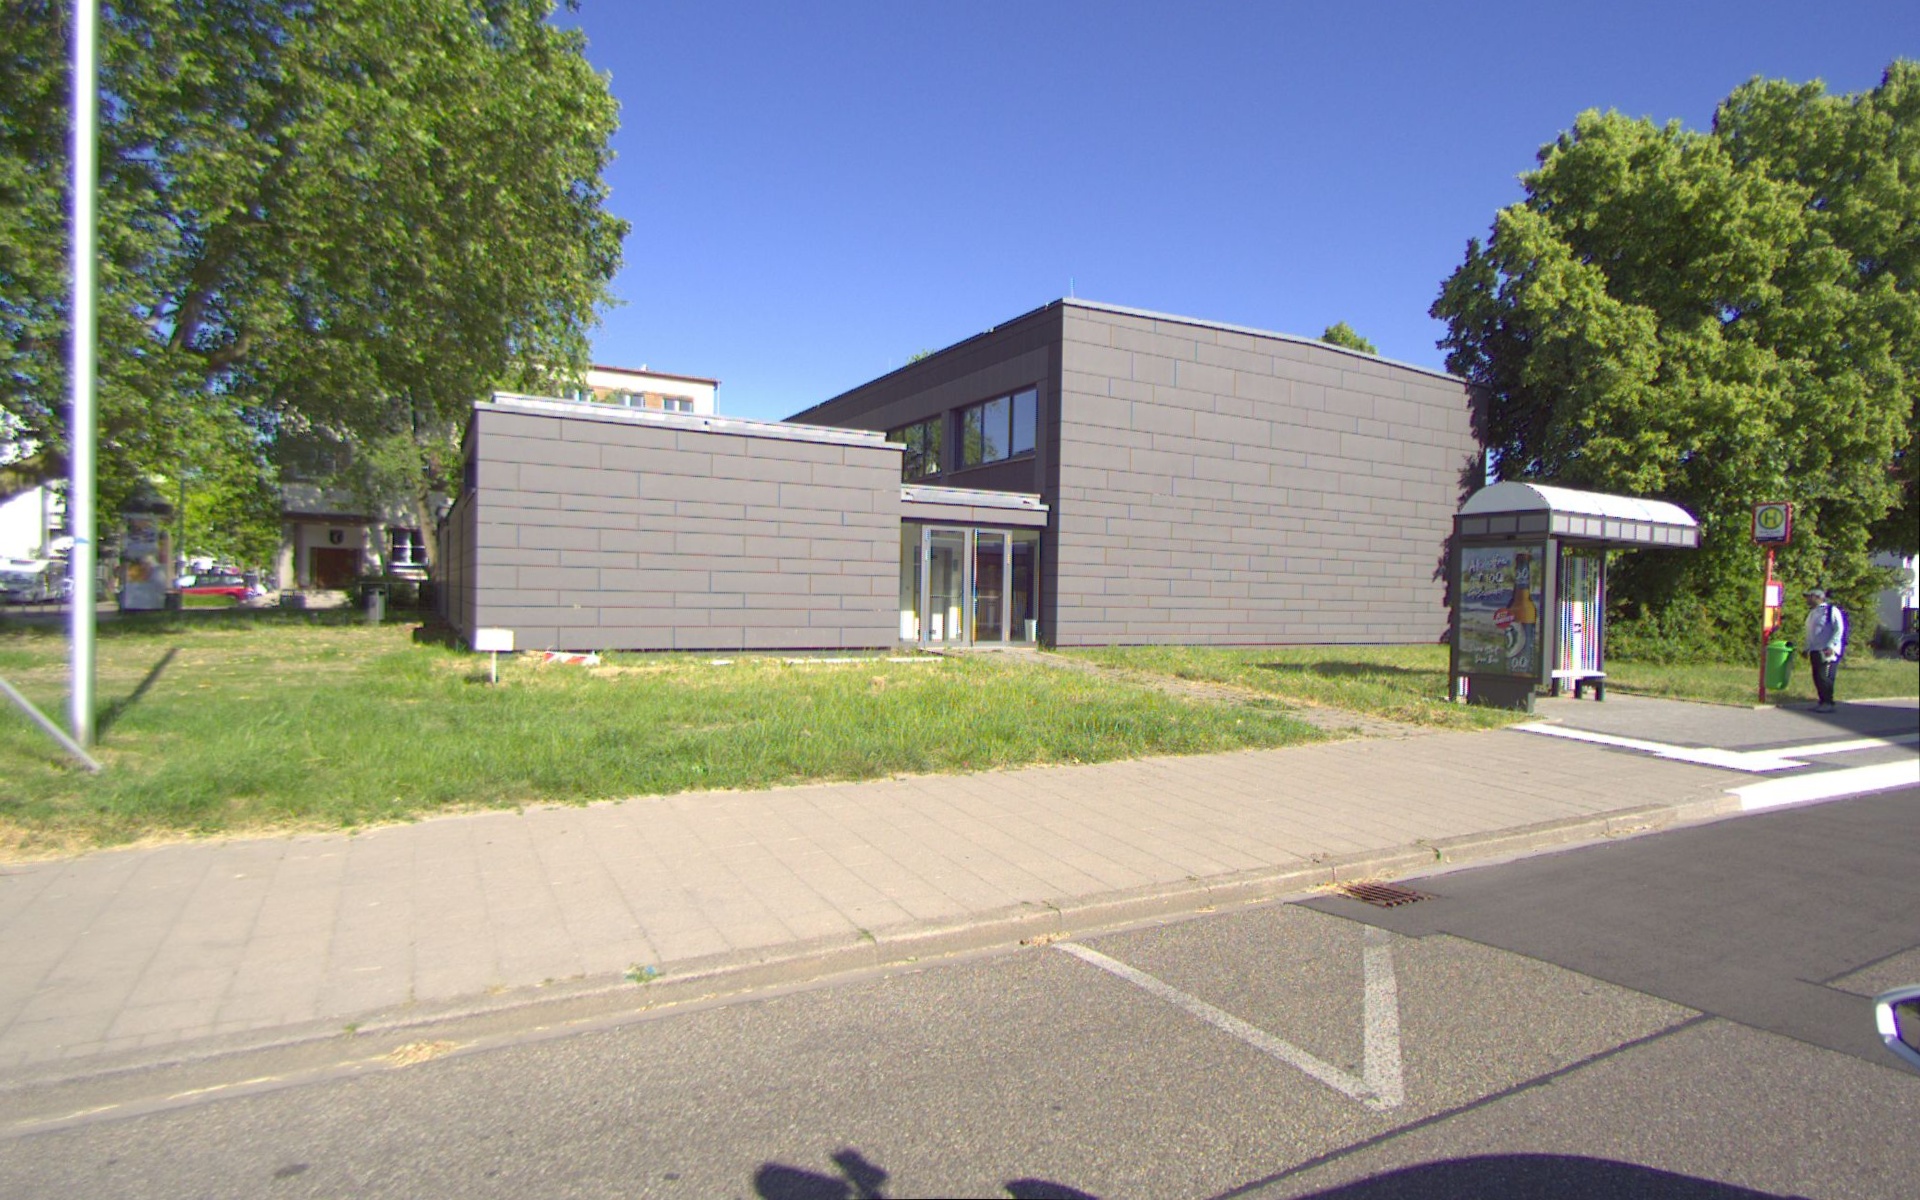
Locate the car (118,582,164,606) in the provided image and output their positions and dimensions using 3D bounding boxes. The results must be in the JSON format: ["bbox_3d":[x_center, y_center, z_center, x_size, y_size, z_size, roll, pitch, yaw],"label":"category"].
[{"bbox_3d":[-64.268,-0.465,78.886,1.975,1.773,3.971,1,0,-27],"label":"car"}]

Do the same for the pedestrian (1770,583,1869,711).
[{"bbox_3d":[12.787,0.677,14.968,0.755,1.827,0.718,2,3,4],"label":"pedestrian"}]

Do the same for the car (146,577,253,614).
[{"bbox_3d":[-43.822,-0.241,57.988,4.623,2.040,1.985,1,1,-29],"label":"car"}]

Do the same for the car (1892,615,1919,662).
[{"bbox_3d":[37.718,1.522,37.256,1.912,1.748,4.224,2,0,-12],"label":"car"}]
